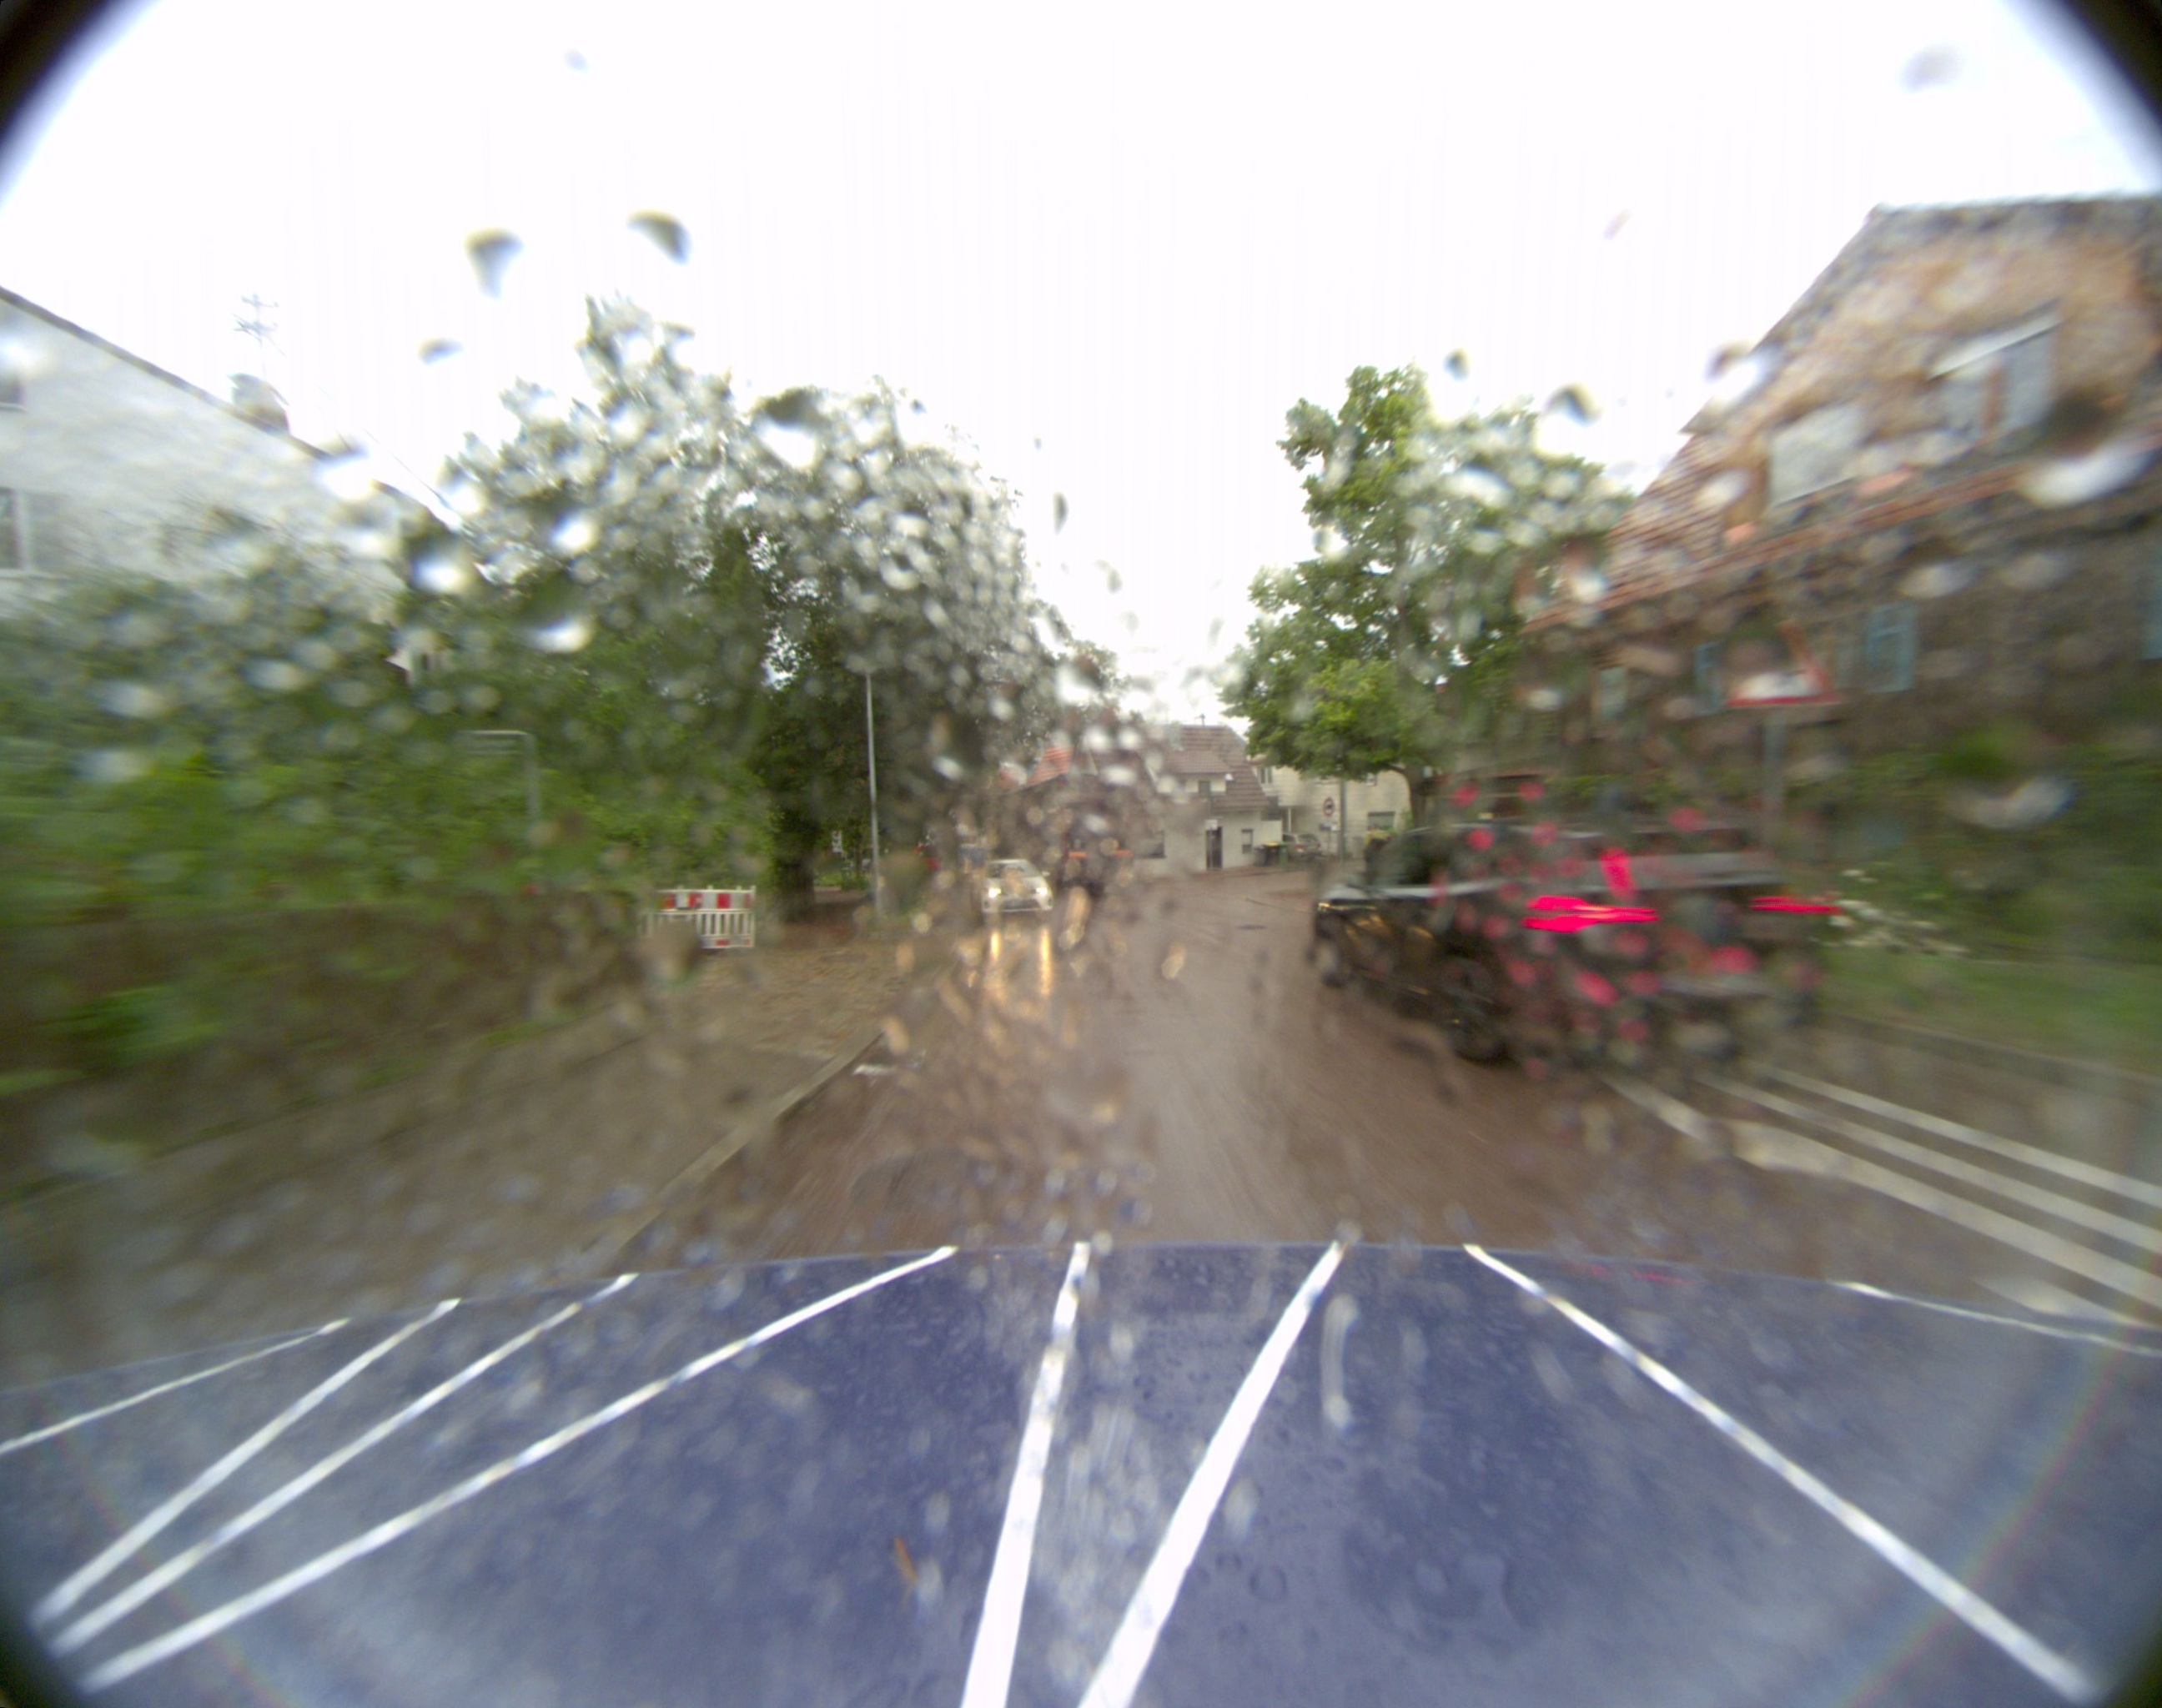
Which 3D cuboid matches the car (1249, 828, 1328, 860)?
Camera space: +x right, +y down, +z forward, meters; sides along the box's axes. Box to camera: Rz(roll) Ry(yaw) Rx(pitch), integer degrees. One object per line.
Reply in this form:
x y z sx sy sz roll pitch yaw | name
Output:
10.574 -0.483 39.003 1.729 1.524 3.992 -3 1 -23 | car

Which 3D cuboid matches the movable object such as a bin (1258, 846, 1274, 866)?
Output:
8.777 0.107 36.027 0.518 0.935 0.500 -3 1 -22 | movable object such as a bin

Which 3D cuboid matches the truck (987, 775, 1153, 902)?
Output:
-0.898 -0.509 29.115 2.860 3.945 10.412 -3 1 -21 | truck

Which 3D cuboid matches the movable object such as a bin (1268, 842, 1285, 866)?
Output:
9.326 -0.010 36.177 0.546 1.117 0.516 -3 1 -22 | movable object such as a bin

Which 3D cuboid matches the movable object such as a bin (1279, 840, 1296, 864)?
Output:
9.871 -0.073 36.362 0.531 1.117 0.517 -3 1 -21 | movable object such as a bin

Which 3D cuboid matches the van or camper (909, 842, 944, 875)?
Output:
-12.869 0.354 63.057 2.002 2.519 4.736 -2 1 -22 | van or camper

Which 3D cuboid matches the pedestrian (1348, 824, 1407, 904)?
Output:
7.074 0.236 18.181 0.971 1.820 0.894 -3 1 -4 | pedestrian

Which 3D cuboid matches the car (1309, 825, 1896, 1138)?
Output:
3.411 0.666 6.131 1.892 1.606 4.139 -2 1 1 | car

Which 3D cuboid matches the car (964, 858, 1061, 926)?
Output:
-1.891 0.887 19.746 1.861 1.427 4.012 -4 1 -13 | car
